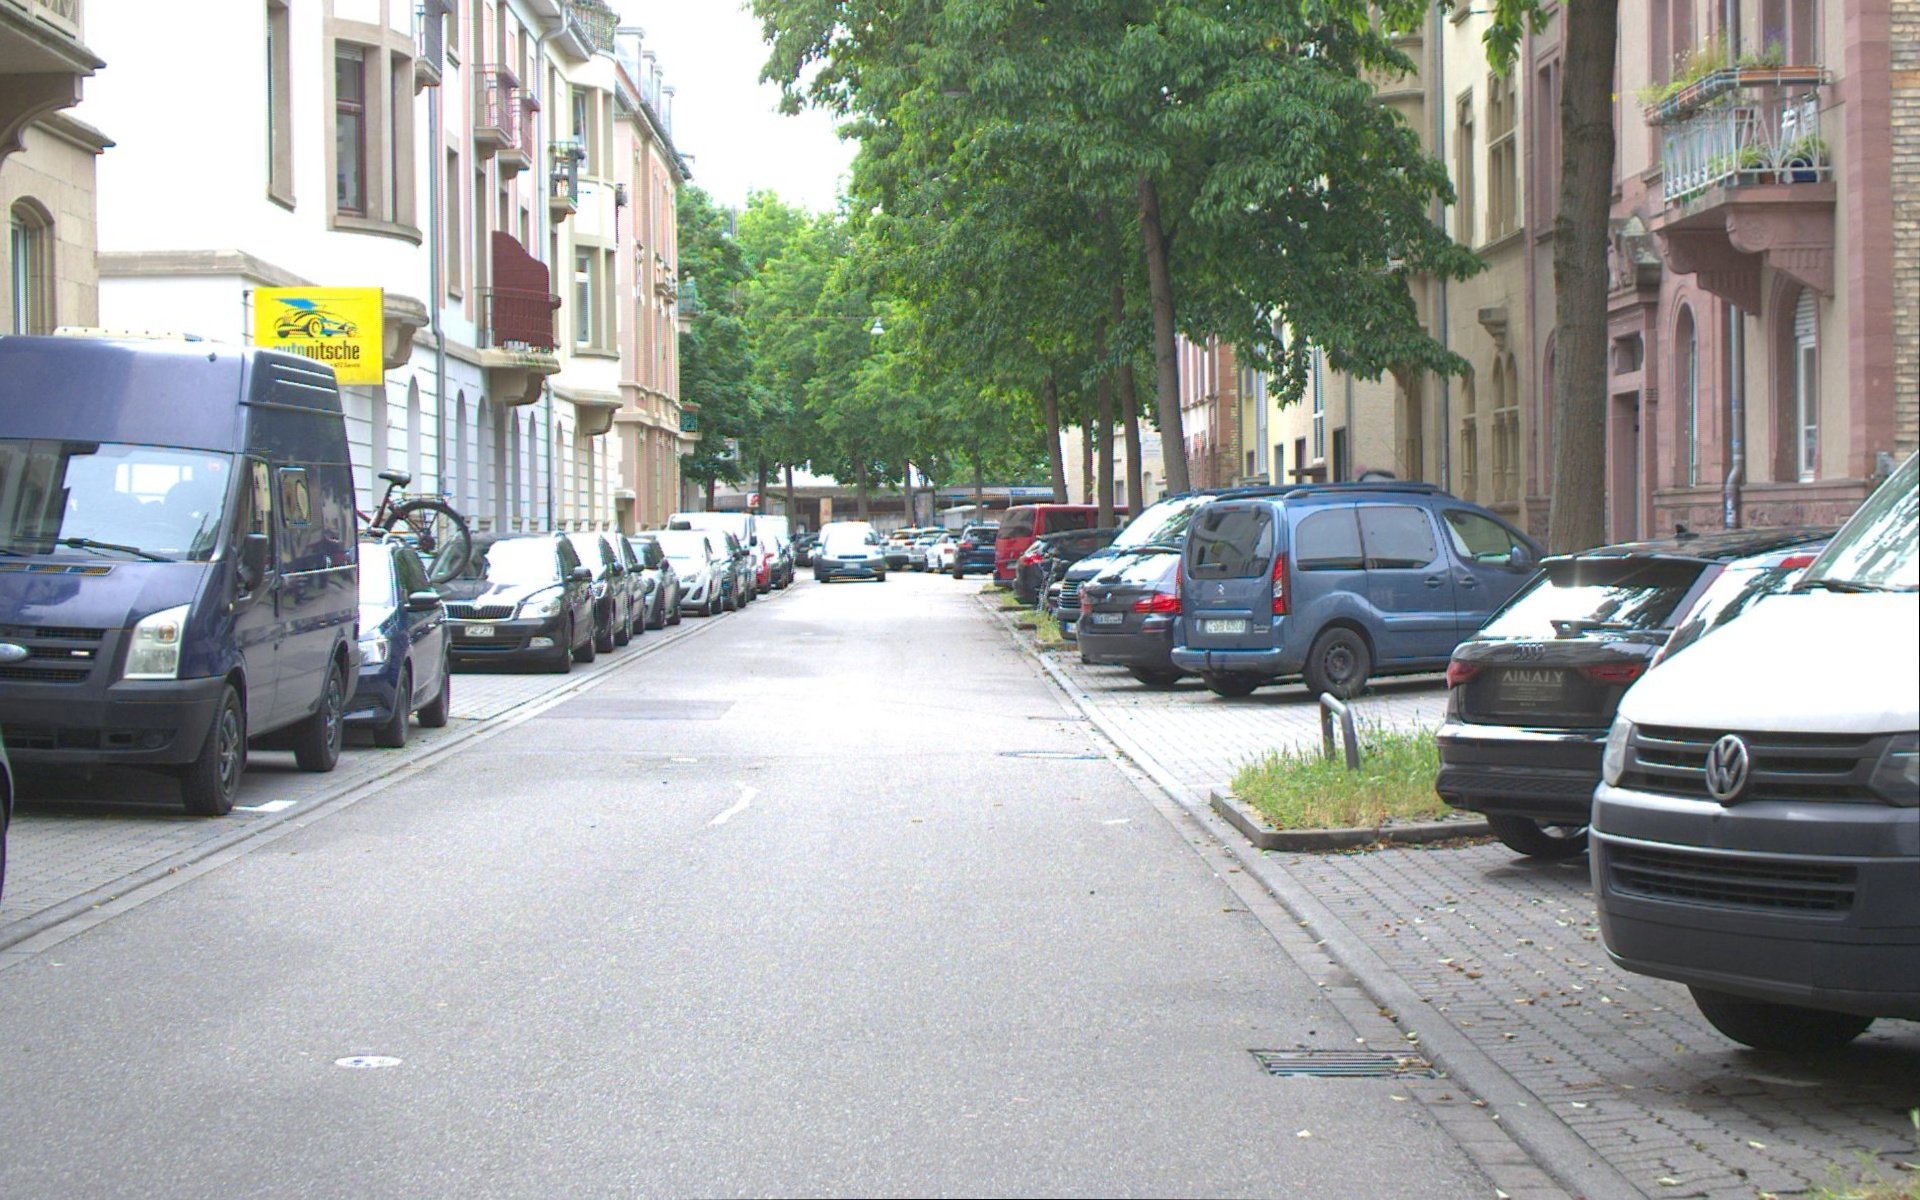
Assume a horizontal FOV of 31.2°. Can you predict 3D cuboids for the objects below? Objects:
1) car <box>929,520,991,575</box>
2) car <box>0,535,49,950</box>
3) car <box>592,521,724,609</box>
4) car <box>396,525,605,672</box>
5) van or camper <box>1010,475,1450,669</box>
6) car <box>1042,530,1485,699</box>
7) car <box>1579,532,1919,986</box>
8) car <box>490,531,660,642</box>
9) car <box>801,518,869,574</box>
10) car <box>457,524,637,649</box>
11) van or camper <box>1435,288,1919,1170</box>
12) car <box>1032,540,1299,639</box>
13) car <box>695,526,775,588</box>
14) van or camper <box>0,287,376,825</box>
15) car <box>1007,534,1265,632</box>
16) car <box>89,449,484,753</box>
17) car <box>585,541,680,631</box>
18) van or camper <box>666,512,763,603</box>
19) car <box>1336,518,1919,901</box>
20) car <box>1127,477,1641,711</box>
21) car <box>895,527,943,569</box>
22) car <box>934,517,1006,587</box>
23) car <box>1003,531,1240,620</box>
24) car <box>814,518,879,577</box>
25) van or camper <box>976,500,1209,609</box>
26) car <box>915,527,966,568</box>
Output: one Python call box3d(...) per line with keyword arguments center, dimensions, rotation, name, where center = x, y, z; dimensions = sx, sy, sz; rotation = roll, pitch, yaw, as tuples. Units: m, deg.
box3d(center=(-0.028, -1.765, 116.968), dimensions=(1.993, 1.788, 4.000), rotation=(1, 0, -1), name="car")
box3d(center=(-4.202, 0.505, 10.746), dimensions=(1.667, 1.468, 4.000), rotation=(1, 1, -1), name="car")
box3d(center=(-5.238, -0.638, 60.076), dimensions=(1.993, 1.470, 4.000), rotation=(0, 1, -1), name="car")
box3d(center=(-4.869, -0.054, 36.884), dimensions=(1.789, 1.475, 4.023), rotation=(0, 1, -1), name="car")
box3d(center=(3.152, -0.336, 39.831), dimensions=(4.775, 2.130, 2.056), rotation=(0, 1, -31), name="van or camper")
box3d(center=(3.012, 0.105, 33.896), dimensions=(4.010, 1.554, 1.885), rotation=(-1, 1, -31), name="car")
box3d(center=(4.149, 0.455, 12.620), dimensions=(3.414, 1.436, 1.671), rotation=(-3, 1, -32), name="car")
box3d(center=(-5.309, -0.217, 47.861), dimensions=(1.947, 1.398, 4.000), rotation=(2, 1, -1), name="car")
box3d(center=(-3.993, -1.733, 110.285), dimensions=(1.908, 1.672, 4.000), rotation=(2, 1, 1), name="car")
box3d(center=(-5.116, -0.198, 42.996), dimensions=(1.829, 1.422, 3.802), rotation=(2, 1, -1), name="car")
box3d(center=(3.921, 0.227, 9.559), dimensions=(4.729, 1.987, 2.000), rotation=(-3, -1, -25), name="van or camper")
box3d(center=(3.007, -0.167, 50.680), dimensions=(3.709, 1.403, 1.576), rotation=(0, 1, -6), name="car")
box3d(center=(-5.813, -1.130, 89.118), dimensions=(1.786, 1.450, 3.888), rotation=(-4, 1, -1), name="car")
box3d(center=(-4.764, -0.273, 19.611), dimensions=(2.008, 2.642, 5.316), rotation=(0, 1, -1), name="van or camper")
box3d(center=(2.702, -0.274, 53.203), dimensions=(3.760, 1.460, 1.729), rotation=(0, 1, -6), name="car")
box3d(center=(-4.814, -0.043, 25.295), dimensions=(1.993, 2.007, 4.891), rotation=(0, 1, -1), name="car")
box3d(center=(-4.973, -0.238, 52.454), dimensions=(1.209, 1.305, 3.261), rotation=(0, 1, -1), name="car")
box3d(center=(-5.452, -0.961, 76.653), dimensions=(1.881, 1.961, 4.408), rotation=(0, 1, -1), name="van or camper")
box3d(center=(3.998, 0.365, 15.277), dimensions=(4.301, 1.388, 1.923), rotation=(-4, 2, -32), name="car")
box3d(center=(3.846, -0.077, 31.069), dimensions=(4.172, 1.863, 2.000), rotation=(-3, 1, -30), name="car")
box3d(center=(-1.640, -2.050, 137.416), dimensions=(1.870, 1.623, 4.000), rotation=(-1, 0, -1), name="car")
box3d(center=(0.276, -1.467, 104.327), dimensions=(1.993, 2.007, 4.000), rotation=(2, 1, -1), name="car")
box3d(center=(2.696, -0.425, 57.862), dimensions=(3.760, 1.460, 1.729), rotation=(0, 1, -6), name="car")
box3d(center=(-3.302, -1.525, 100.258), dimensions=(1.821, 1.639, 3.754), rotation=(1, 0, -1), name="car")
box3d(center=(2.612, -0.903, 67.558), dimensions=(4.146, 2.078, 1.953), rotation=(0, 1, -28), name="van or camper")
box3d(center=(-0.769, -2.008, 131.505), dimensions=(1.870, 1.525, 4.000), rotation=(0, 1, -1), name="car")
